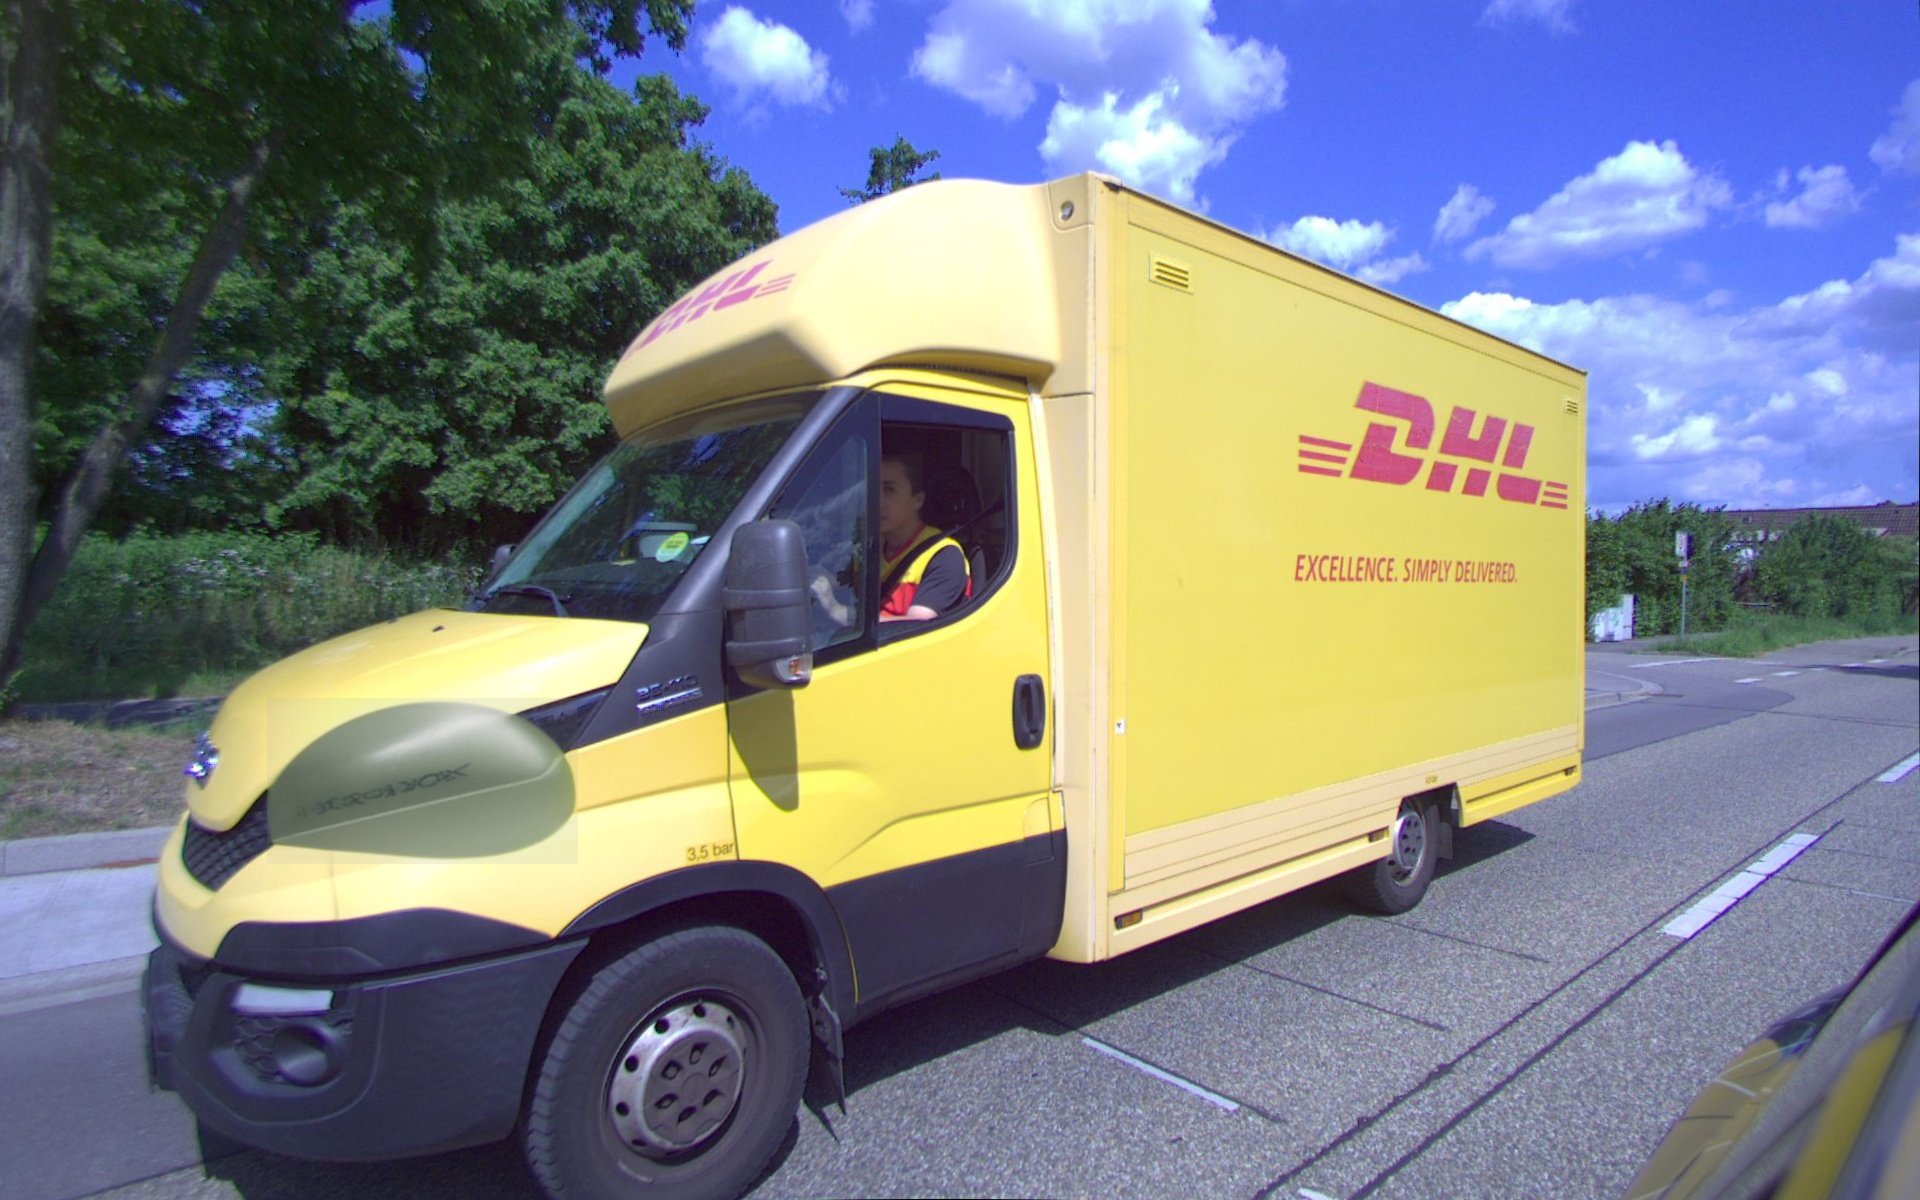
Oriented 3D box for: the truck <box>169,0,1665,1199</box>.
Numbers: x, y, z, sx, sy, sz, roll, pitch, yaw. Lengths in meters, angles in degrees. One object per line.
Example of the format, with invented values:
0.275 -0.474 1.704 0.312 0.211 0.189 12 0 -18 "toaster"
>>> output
1.047 -0.071 5.128 7.886 2.917 2.269 0 0 -41 "truck"
